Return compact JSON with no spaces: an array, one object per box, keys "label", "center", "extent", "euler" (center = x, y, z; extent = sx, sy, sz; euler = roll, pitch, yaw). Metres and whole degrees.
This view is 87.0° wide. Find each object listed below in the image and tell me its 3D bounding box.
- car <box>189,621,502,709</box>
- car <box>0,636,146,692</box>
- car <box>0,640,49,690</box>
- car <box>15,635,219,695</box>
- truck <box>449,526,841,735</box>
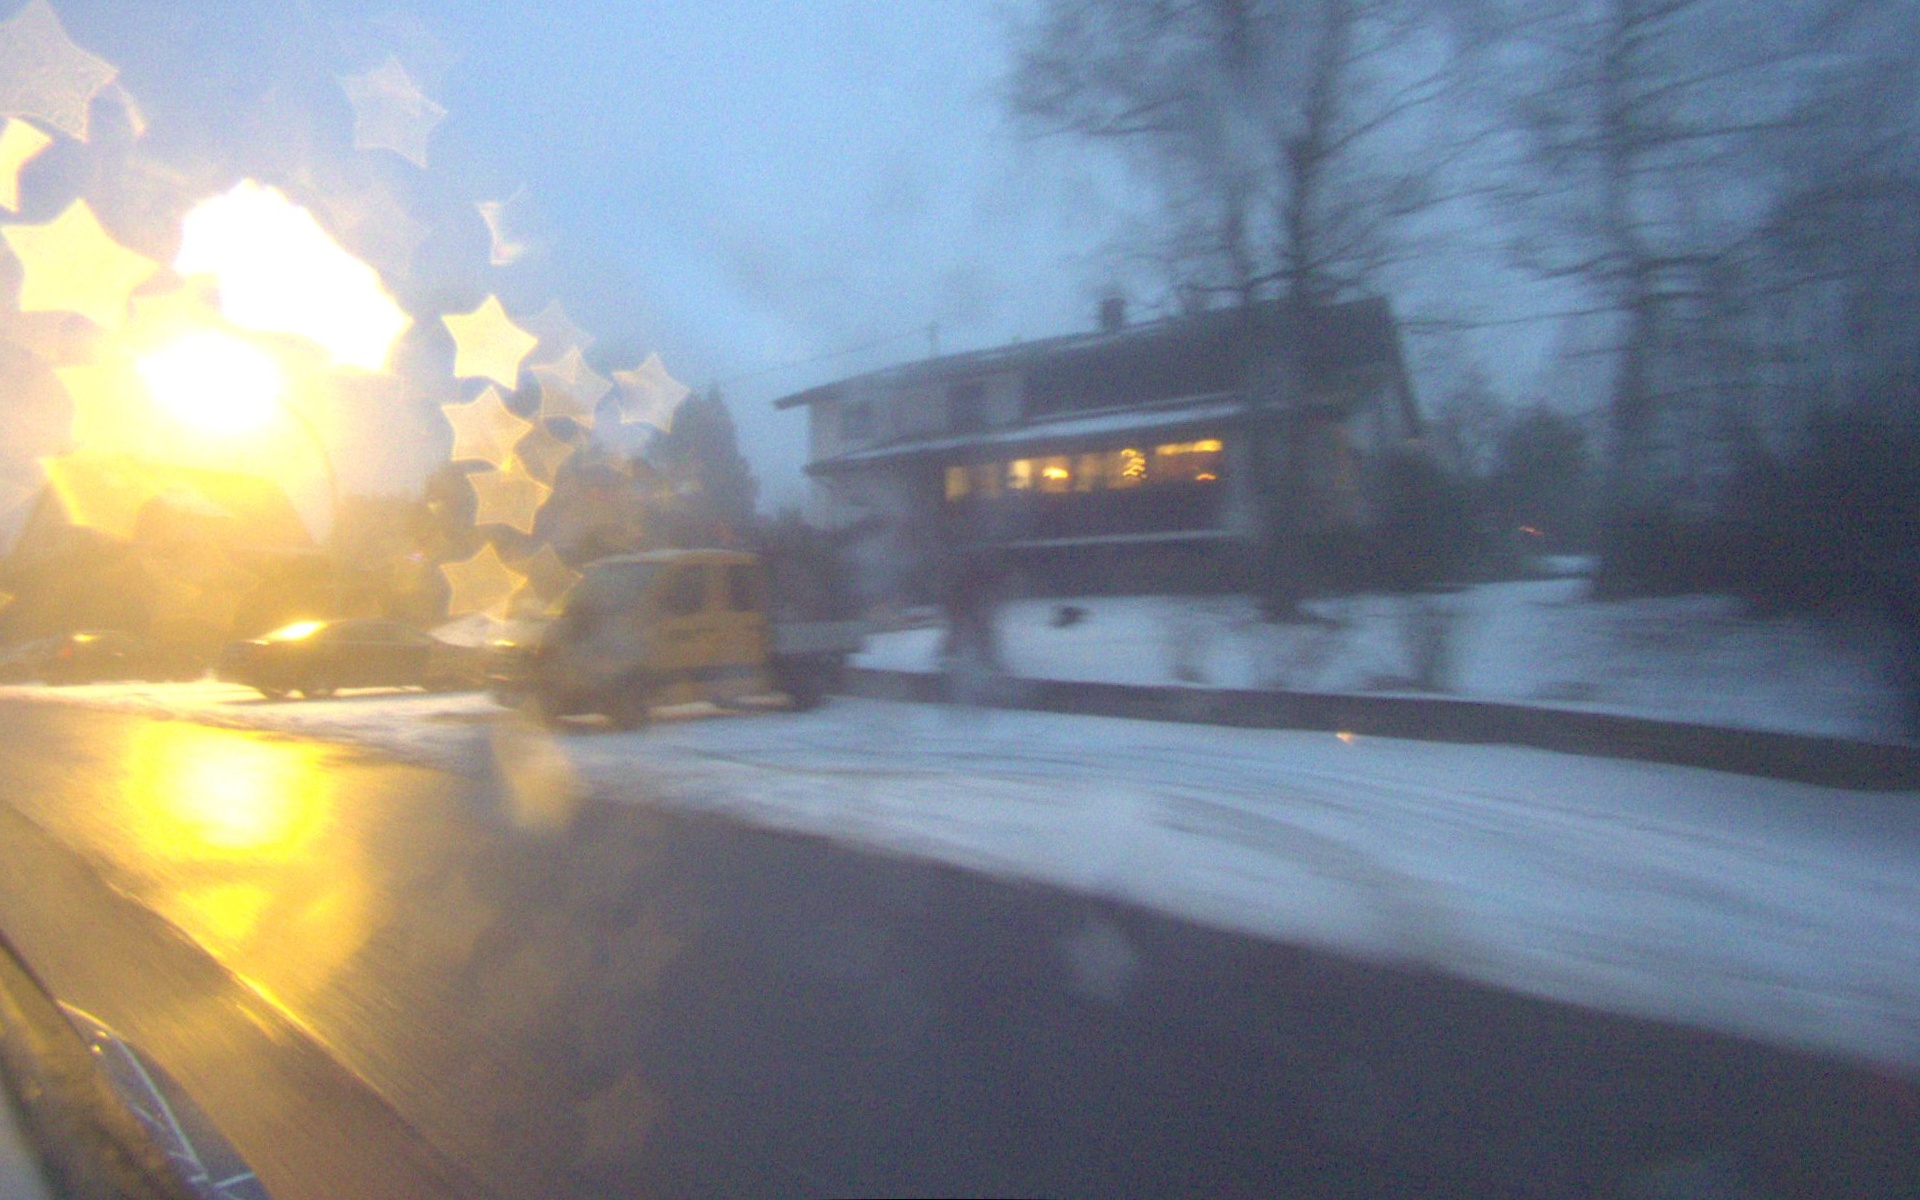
[{"label":"car","center":[-11.845,1.230,19.910],"extent":[2.116,1.496,4.850],"euler":[-3,-3,31]},{"label":"car","center":[-27.734,1.917,30.520],"extent":[2.097,1.578,4.506],"euler":[-2,-3,23]},{"label":"car","center":[-32.834,2.158,33.161],"extent":[4.949,1.578,1.991],"euler":[-2,-4,14]},{"label":"car","center":[-22.776,1.727,27.505],"extent":[1.929,1.483,3.830],"euler":[-3,-3,27]},{"label":"truck","center":[-4.029,0.470,14.032],"extent":[1.992,2.320,5.223],"euler":[-3,-3,30]}]
